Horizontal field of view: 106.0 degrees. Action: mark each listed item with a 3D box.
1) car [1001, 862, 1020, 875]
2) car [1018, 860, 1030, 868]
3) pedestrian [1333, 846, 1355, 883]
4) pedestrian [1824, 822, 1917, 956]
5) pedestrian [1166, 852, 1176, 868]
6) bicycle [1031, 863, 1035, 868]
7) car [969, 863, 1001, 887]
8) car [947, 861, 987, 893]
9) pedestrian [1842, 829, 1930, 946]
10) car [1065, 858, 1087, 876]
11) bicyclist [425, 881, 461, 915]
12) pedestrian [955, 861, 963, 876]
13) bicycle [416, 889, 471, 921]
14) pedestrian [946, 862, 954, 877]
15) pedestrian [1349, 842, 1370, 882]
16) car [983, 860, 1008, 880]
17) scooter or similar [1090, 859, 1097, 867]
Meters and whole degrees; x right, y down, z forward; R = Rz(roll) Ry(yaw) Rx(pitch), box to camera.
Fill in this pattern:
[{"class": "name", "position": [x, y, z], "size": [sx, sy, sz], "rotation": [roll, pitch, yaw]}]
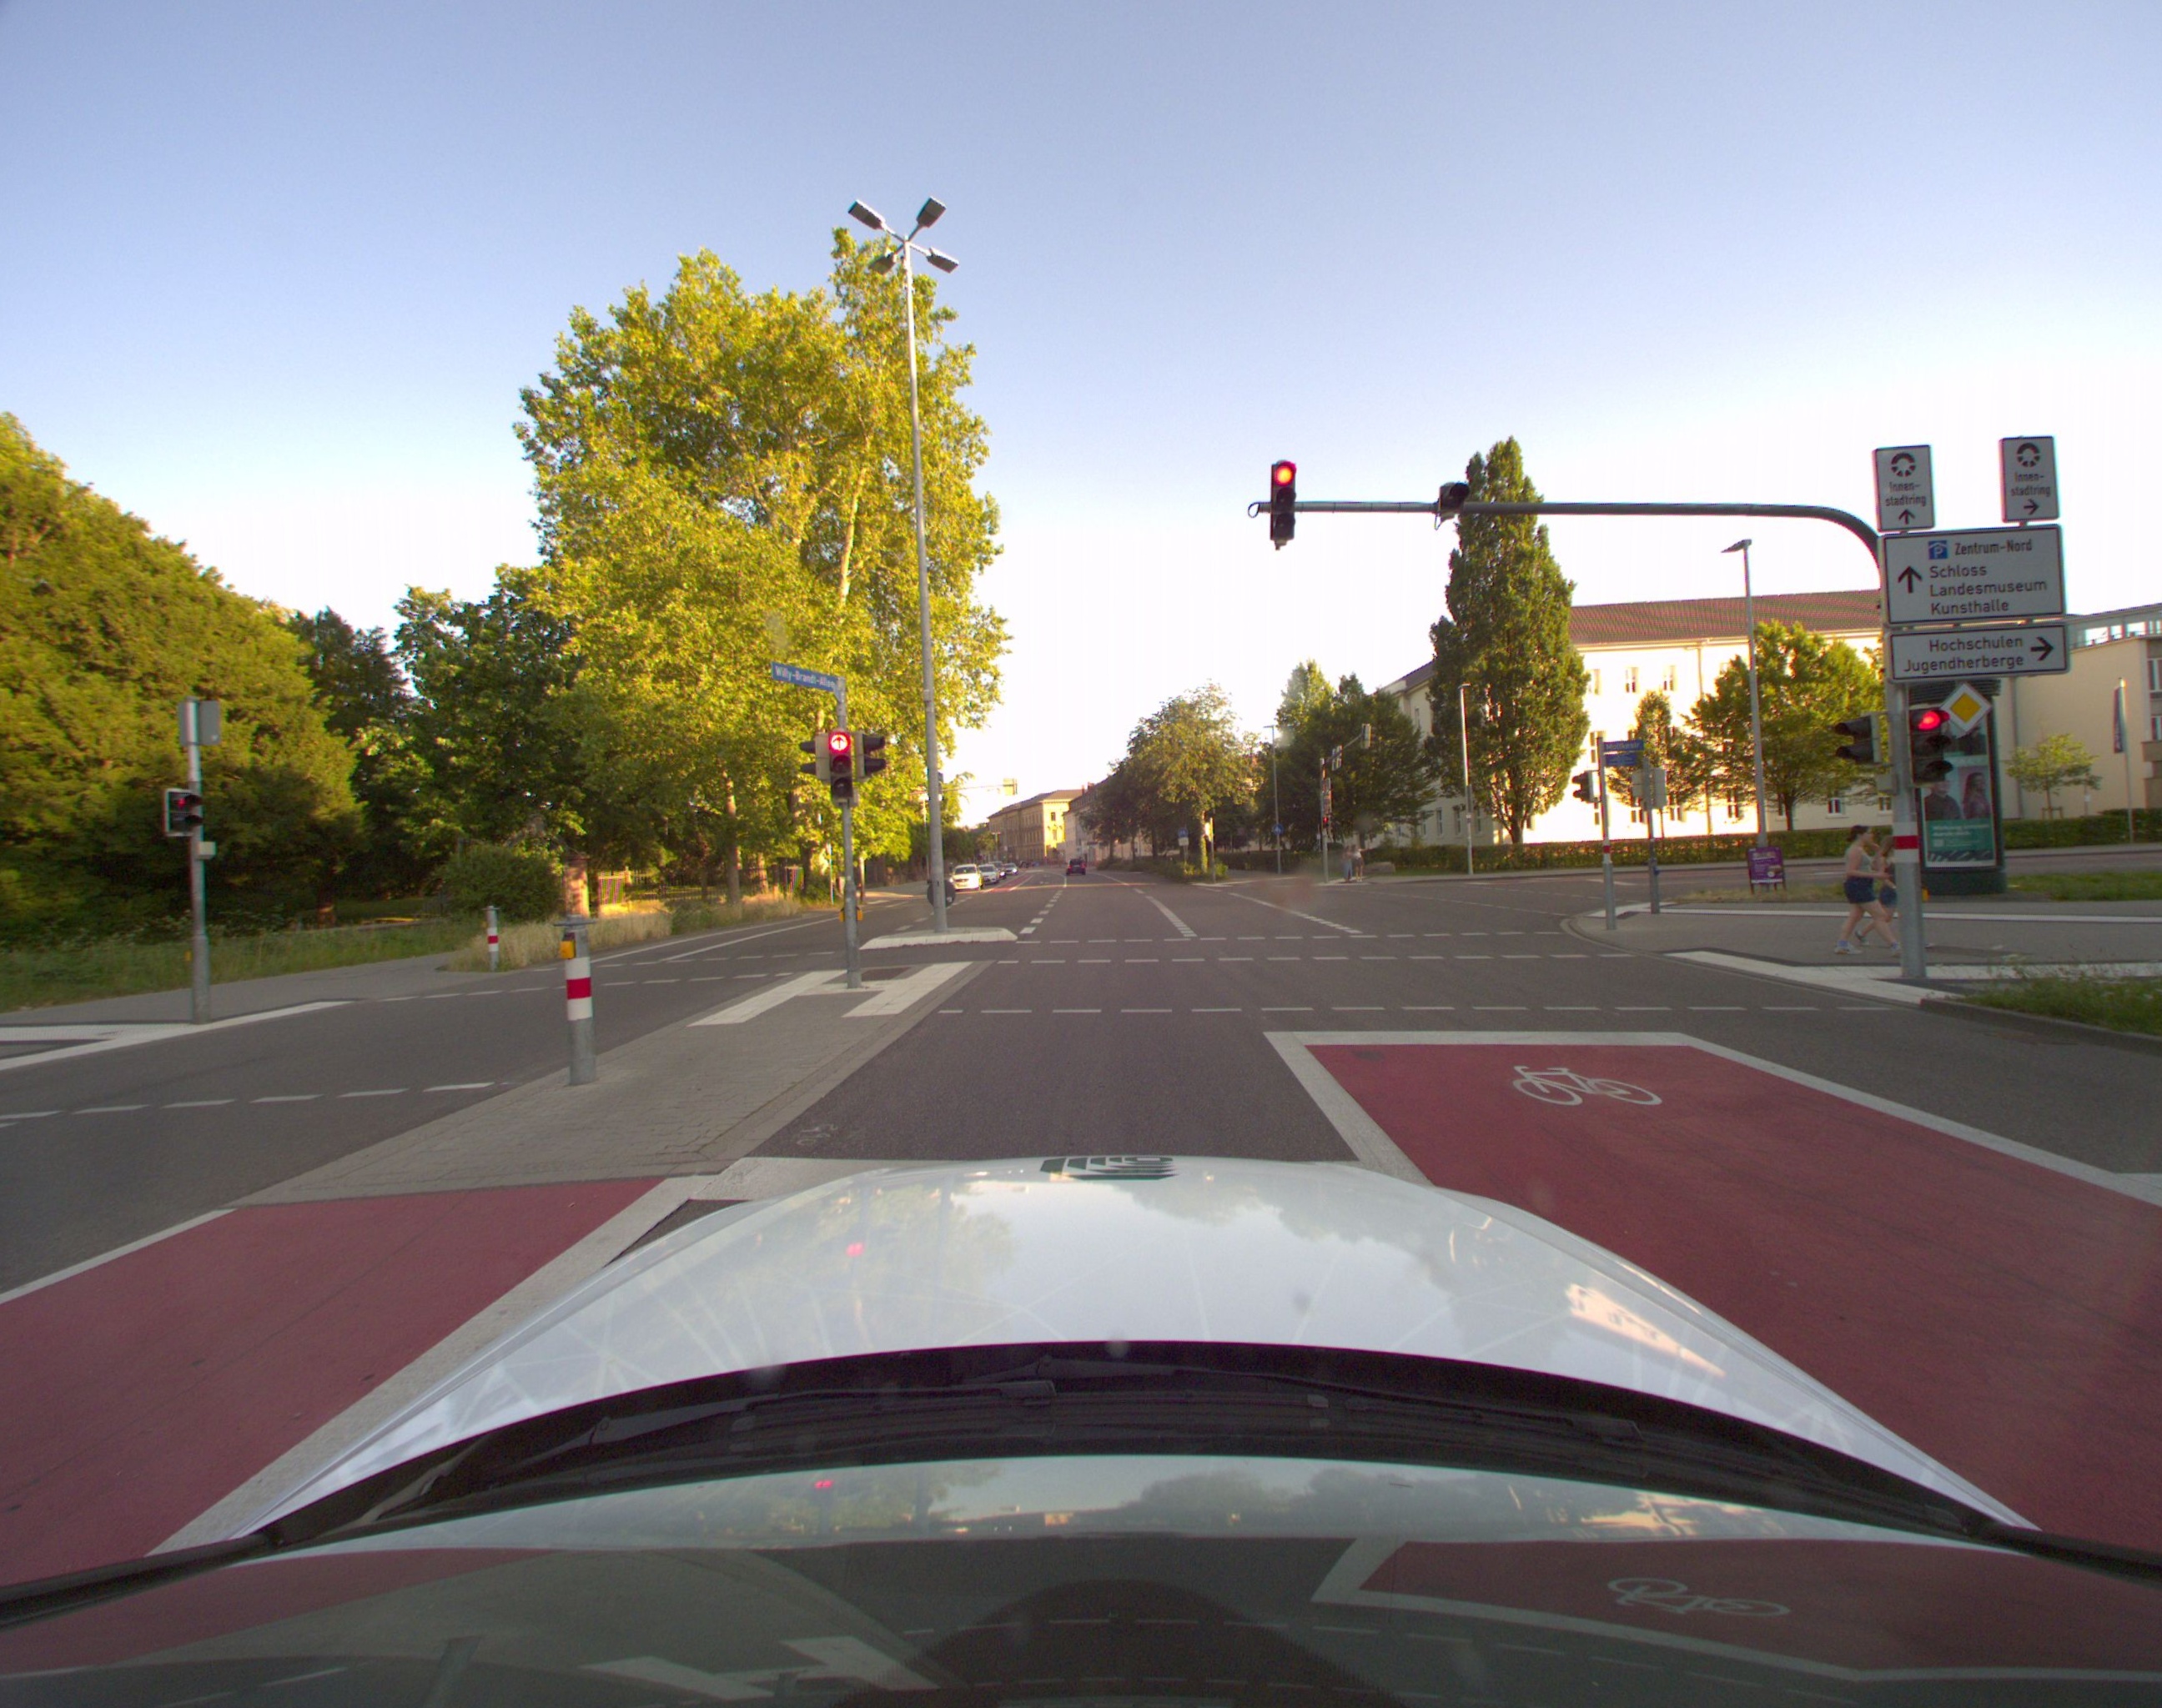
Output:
[{"class": "car", "position": [-8.296, 1.685, 96.177], "size": [1.912, 1.417, 4.766], "rotation": [-5, 0, -2]}, {"class": "car", "position": [-12.014, 2.147, 171.516], "size": [1.915, 1.417, 4.756], "rotation": [-5, 0, -8]}, {"class": "pedestrian", "position": [11.840, 0.453, 36.718], "size": [0.678, 1.622, 0.845], "rotation": [-3, 0, 1]}, {"class": "pedestrian", "position": [10.233, 0.438, 10.588], "size": [0.766, 1.660, 0.726], "rotation": [-3, -1, 41]}, {"class": "pedestrian", "position": [9.759, 0.679, 88.272], "size": [0.769, 1.739, 0.805], "rotation": [-3, 0, -8]}, {"class": "bicycle", "position": [-10.614, 2.501, 179.040], "size": [0.651, 1.015, 2.192], "rotation": [0, -1, -8]}, {"class": "car", "position": [-7.257, 1.585, 61.842], "size": [1.912, 1.583, 4.670], "rotation": [-5, 0, -2]}, {"class": "car", "position": [-7.082, 1.398, 50.987], "size": [1.912, 1.695, 4.422], "rotation": [-5, 0, -2]}, {"class": "pedestrian", "position": [11.057, 0.447, 11.216], "size": [0.779, 1.523, 0.742], "rotation": [-3, -1, 43]}, {"class": "car", "position": [-0.496, 1.180, 75.611], "size": [1.862, 1.510, 3.997], "rotation": [-3, 0, -2]}, {"class": "bicyclist", "position": [-27.919, 1.931, 35.643], "size": [0.883, 1.427, 0.794], "rotation": [-3, -1, 11]}, {"class": "pedestrian", "position": [-13.473, 1.573, 89.687], "size": [0.678, 1.622, 0.689], "rotation": [-3, 0, 1]}, {"class": "bicycle", "position": [-27.901, 2.239, 35.645], "size": [1.960, 1.256, 0.794], "rotation": [-3, -1, 12]}, {"class": "pedestrian", "position": [-14.438, 1.726, 89.871], "size": [0.678, 1.622, 0.689], "rotation": [-3, 0, 1]}, {"class": "pedestrian", "position": [12.552, 0.335, 36.726], "size": [0.678, 1.754, 0.689], "rotation": [-3, 0, 1]}, {"class": "car", "position": [-7.791, 1.446, 74.614], "size": [1.912, 1.624, 4.635], "rotation": [-5, 0, -2]}, {"class": "scooter or similar", "position": [2.256, 1.655, 145.508], "size": [0.630, 1.337, 2.390], "rotation": [-2, -1, -12]}]
